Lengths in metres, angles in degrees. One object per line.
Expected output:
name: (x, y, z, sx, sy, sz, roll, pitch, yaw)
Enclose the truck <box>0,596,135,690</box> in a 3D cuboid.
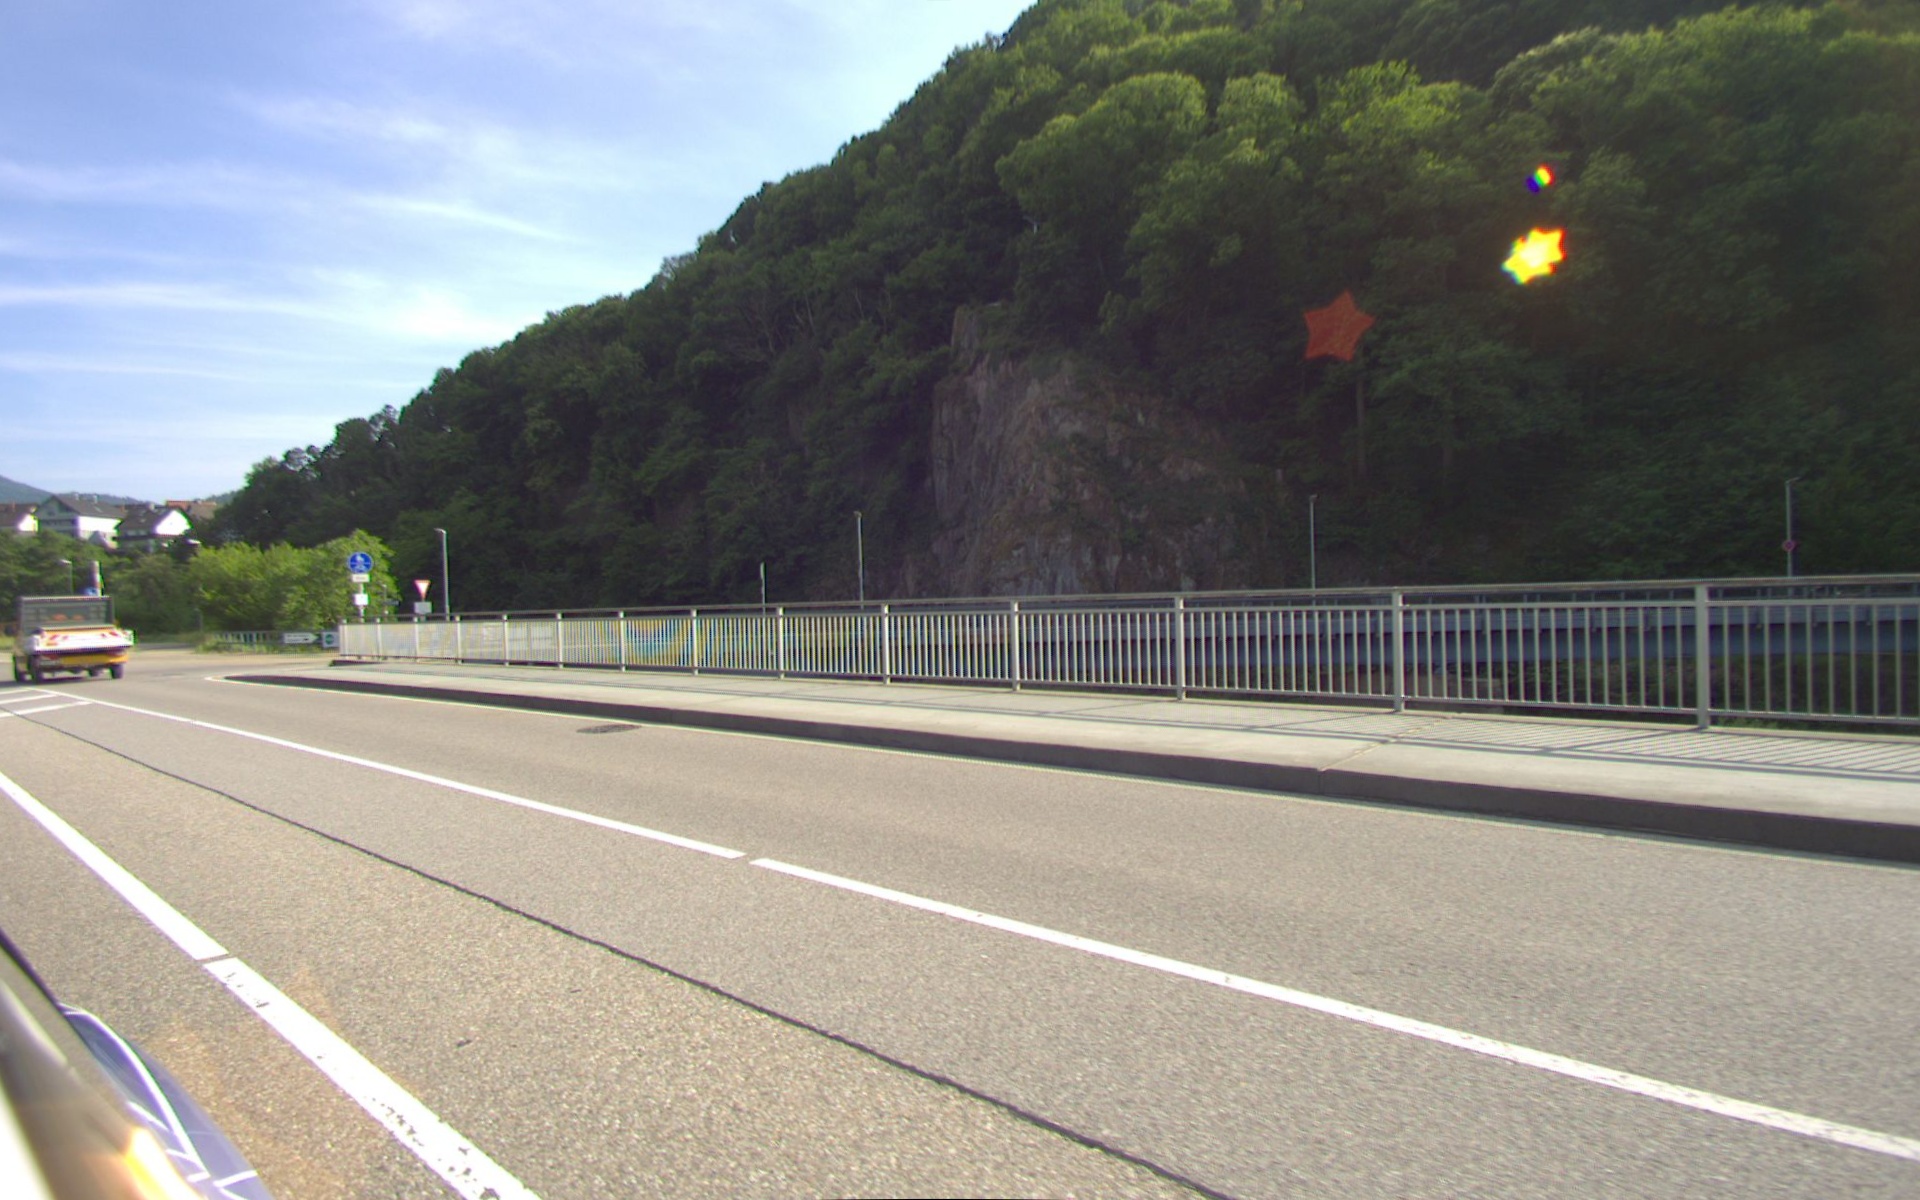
truck: (-25.919, 1.205, 29.260, 5.850, 2.405, 2.142, -2, 1, 41)
